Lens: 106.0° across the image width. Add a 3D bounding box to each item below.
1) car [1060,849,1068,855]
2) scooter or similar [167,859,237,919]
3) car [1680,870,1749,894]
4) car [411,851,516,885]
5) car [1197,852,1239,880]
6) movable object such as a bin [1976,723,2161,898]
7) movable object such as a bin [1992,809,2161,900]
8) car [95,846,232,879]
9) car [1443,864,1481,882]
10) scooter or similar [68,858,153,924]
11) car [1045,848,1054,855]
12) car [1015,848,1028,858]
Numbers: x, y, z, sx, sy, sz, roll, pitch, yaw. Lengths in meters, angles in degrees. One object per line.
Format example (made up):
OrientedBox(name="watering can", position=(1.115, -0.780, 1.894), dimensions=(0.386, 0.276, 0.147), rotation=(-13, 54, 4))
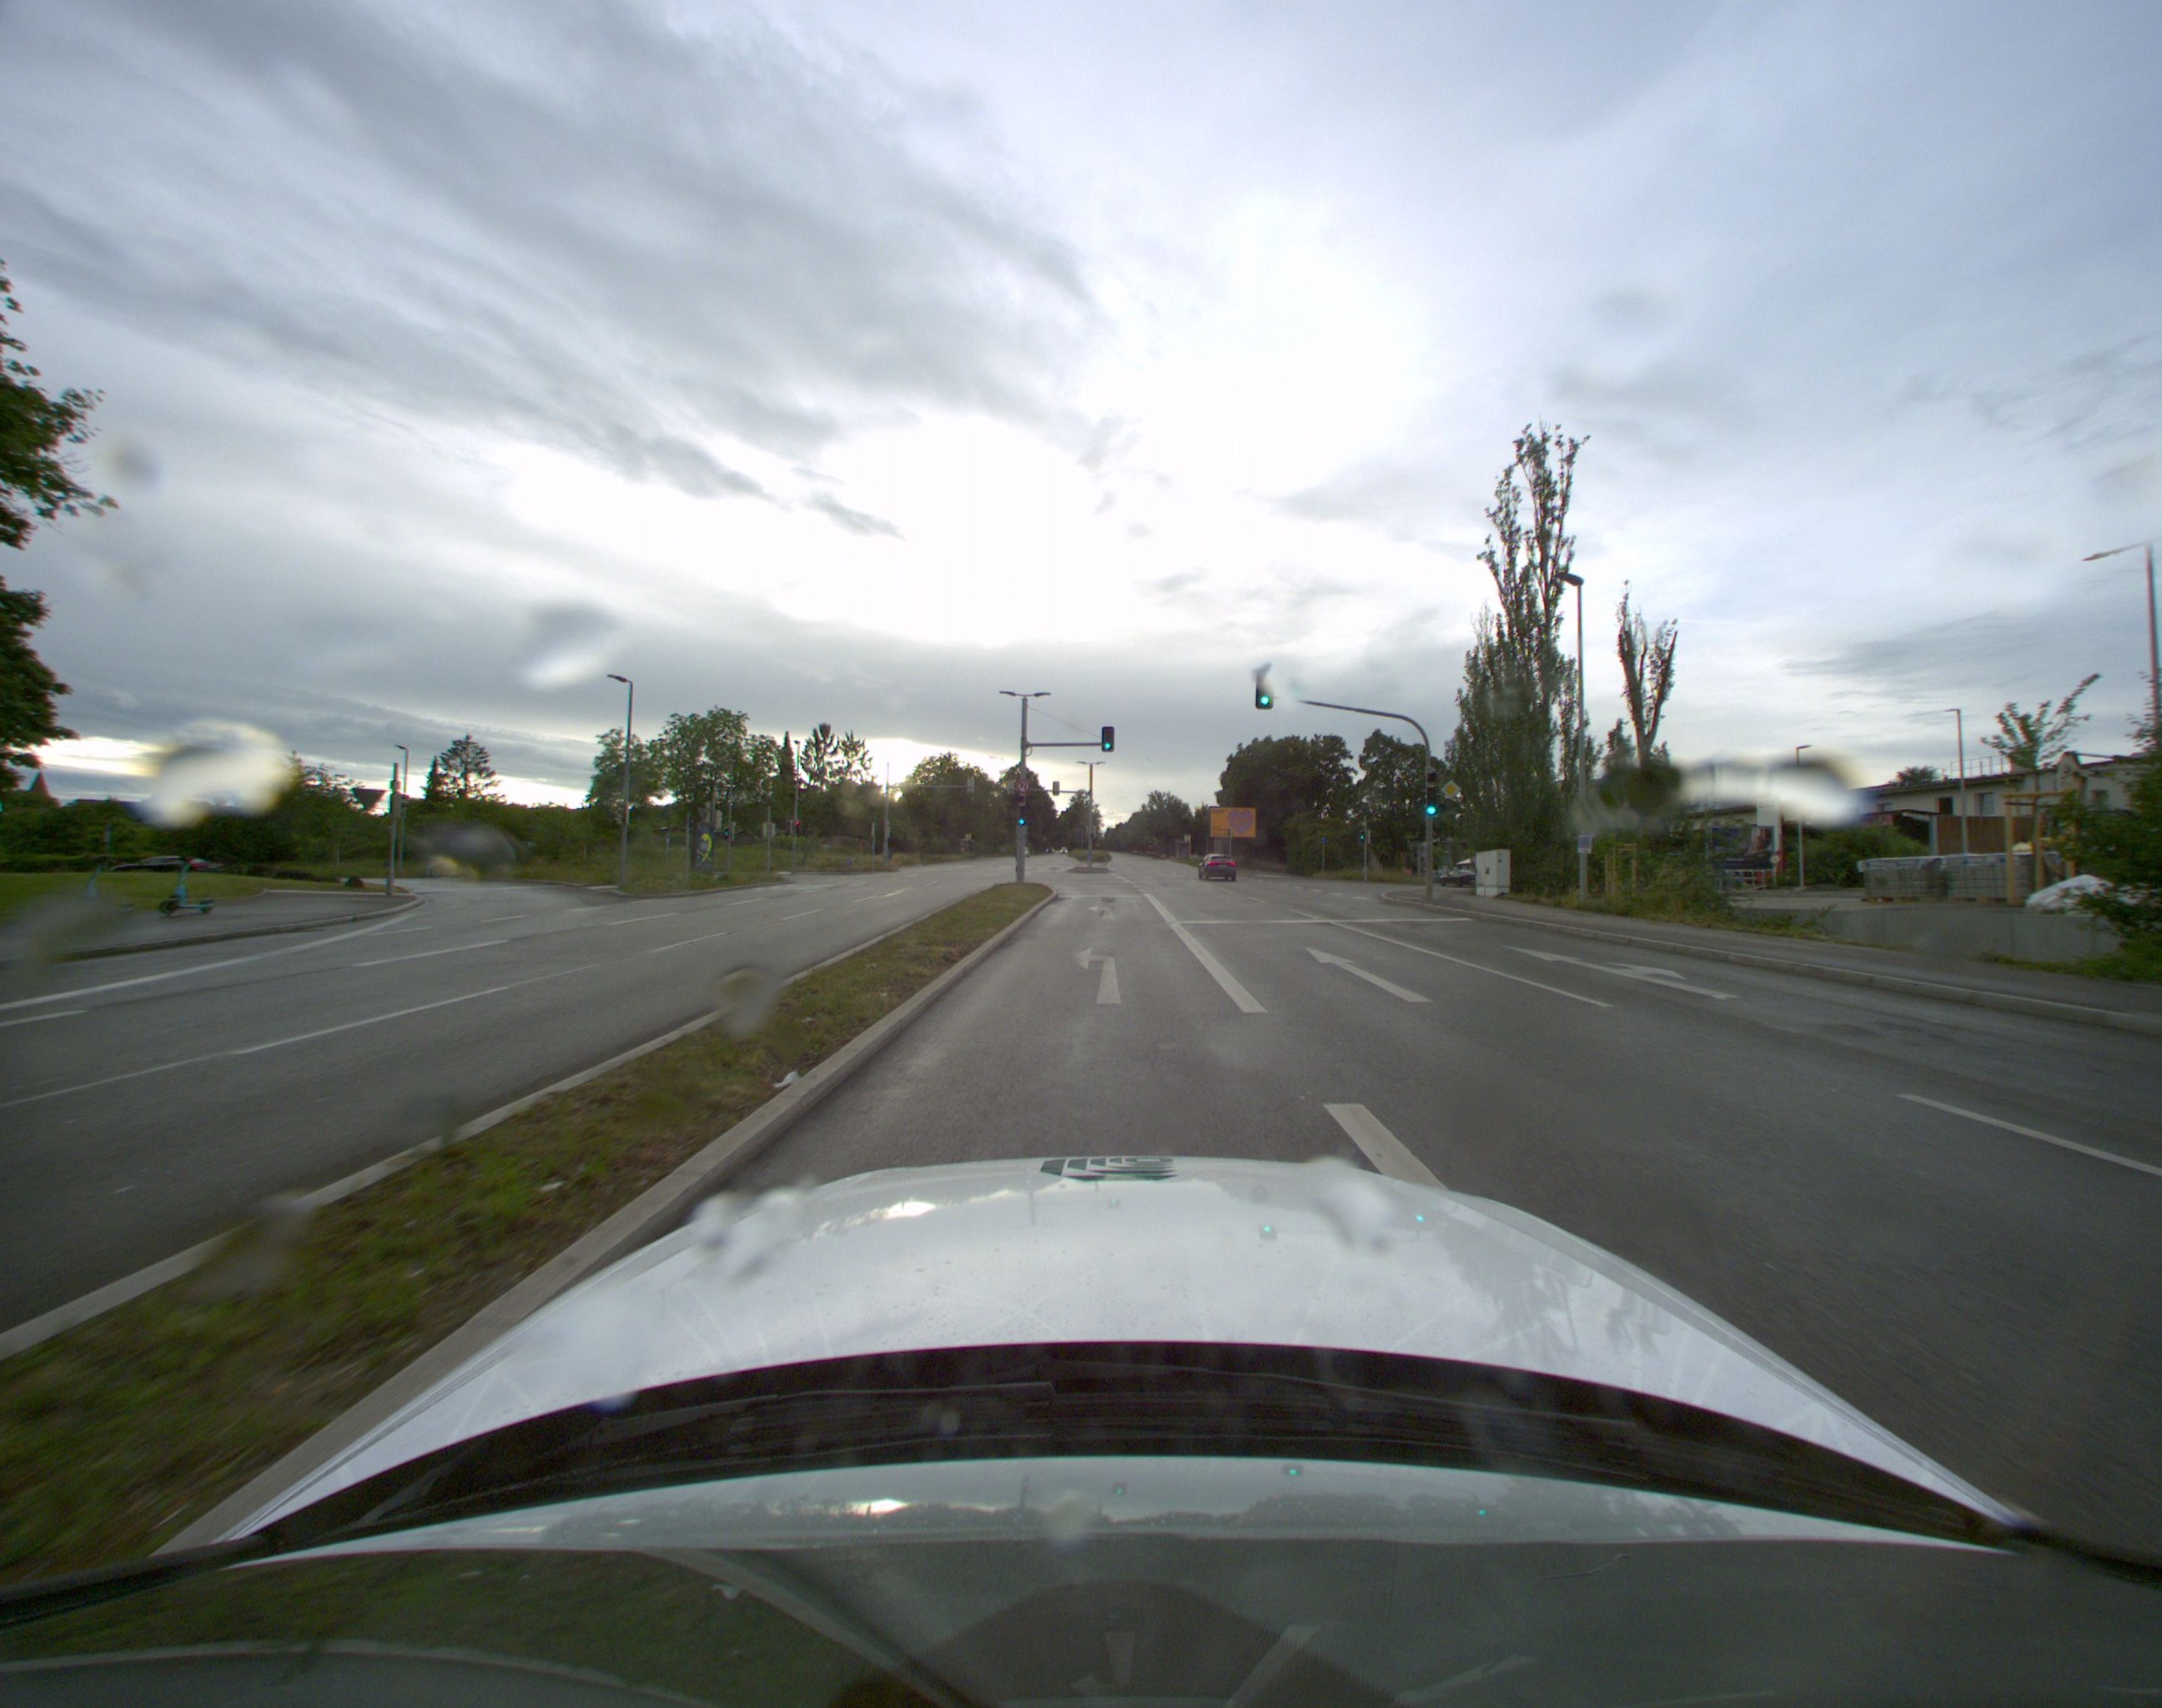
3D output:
OrientedBox(name="car", position=(-4.182, -0.527, 199.161), dimensions=(1.887, 1.534, 4.490), rotation=(1, 0, 1))
OrientedBox(name="scooter or similar", position=(-18.894, 0.729, 17.533), dimensions=(0.311, 1.218, 1.302), rotation=(1, 0, -12))
OrientedBox(name="car", position=(44.971, 2.006, 57.833), dimensions=(3.861, 1.564, 1.515), rotation=(1, 0, -6))
OrientedBox(name="car", position=(-34.703, 0.807, 45.849), dimensions=(4.173, 1.719, 2.082), rotation=(2, -2, -2))
OrientedBox(name="car", position=(7.715, 0.669, 46.188), dimensions=(1.738, 1.470, 4.167), rotation=(1, 0, 1))
OrientedBox(name="movable object such as a bin", position=(21.298, -0.802, 15.520), dimensions=(2.299, 3.276, 5.413), rotation=(1, 0, -6))
OrientedBox(name="movable object such as a bin", position=(31.029, 0.010, 24.189), dimensions=(4.919, 2.618, 1.911), rotation=(1, 0, 23))
OrientedBox(name="car", position=(-49.973, 0.479, 44.434), dimensions=(4.640, 1.583, 2.170), rotation=(3, -2, -4))
OrientedBox(name="car", position=(36.932, 1.847, 79.020), dimensions=(1.771, 1.586, 4.143), rotation=(2, -2, 1))
OrientedBox(name="scooter or similar", position=(-18.840, 0.698, 15.838), dimensions=(0.311, 1.218, 1.302), rotation=(1, 0, -12))
OrientedBox(name="car", position=(-8.305, -0.651, 215.339), dimensions=(1.887, 1.596, 4.490), rotation=(1, 0, 1))
OrientedBox(name="car", position=(-9.804, -0.157, 135.028), dimensions=(1.762, 1.596, 4.490), rotation=(1, 0, 1))
